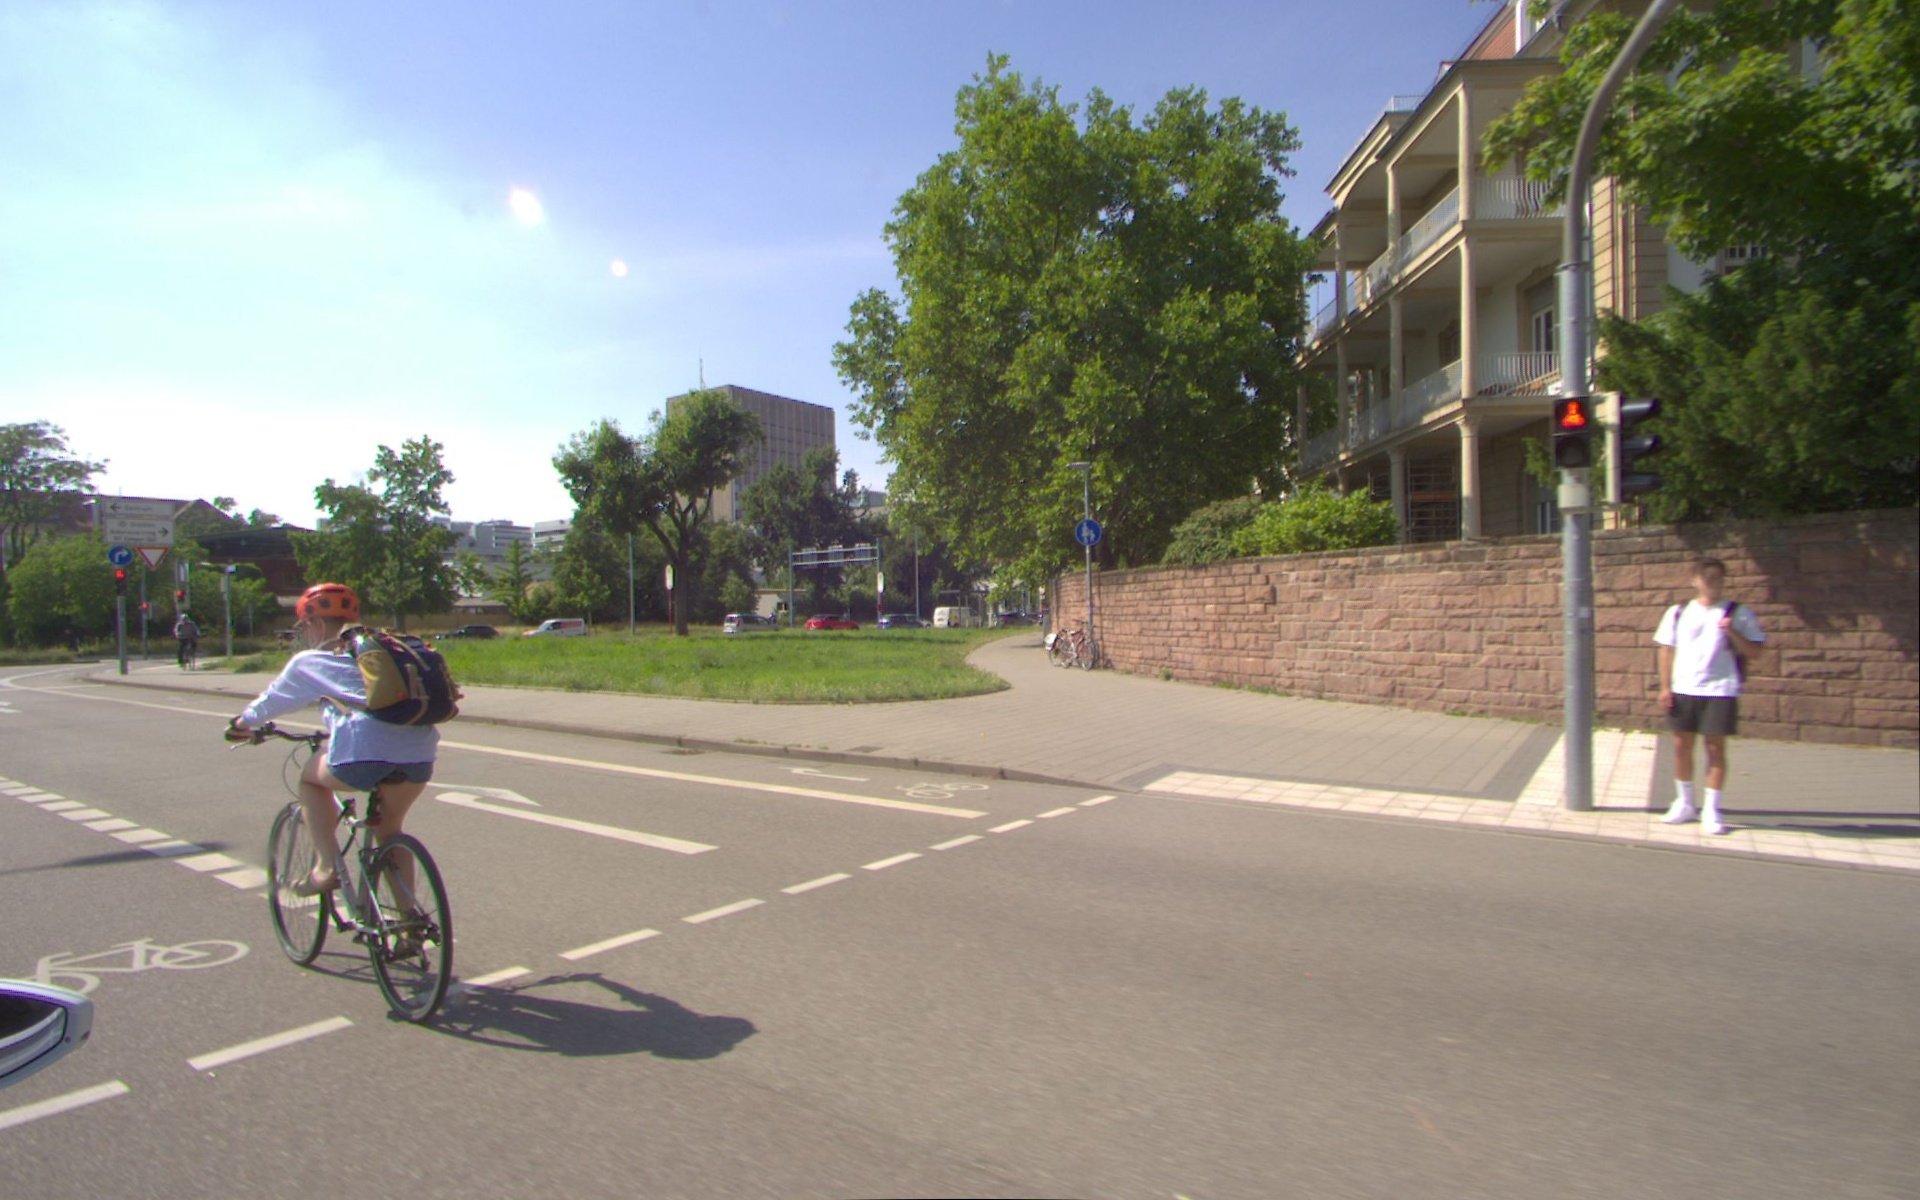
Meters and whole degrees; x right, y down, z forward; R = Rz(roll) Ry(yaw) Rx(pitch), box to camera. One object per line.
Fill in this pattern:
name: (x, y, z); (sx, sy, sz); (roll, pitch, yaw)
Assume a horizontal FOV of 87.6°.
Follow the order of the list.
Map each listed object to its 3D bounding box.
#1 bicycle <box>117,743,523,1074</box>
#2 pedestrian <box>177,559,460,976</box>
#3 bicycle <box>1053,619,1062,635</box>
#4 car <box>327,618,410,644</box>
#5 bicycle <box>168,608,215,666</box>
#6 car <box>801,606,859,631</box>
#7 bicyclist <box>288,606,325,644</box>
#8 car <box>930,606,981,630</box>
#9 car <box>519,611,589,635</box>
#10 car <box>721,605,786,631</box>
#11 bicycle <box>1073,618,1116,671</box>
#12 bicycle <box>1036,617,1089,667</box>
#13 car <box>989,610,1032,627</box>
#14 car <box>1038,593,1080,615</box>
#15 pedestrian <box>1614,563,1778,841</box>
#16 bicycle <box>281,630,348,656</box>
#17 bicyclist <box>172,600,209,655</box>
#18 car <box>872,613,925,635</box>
bicycle: (-2.696, 1.145, 4.133); (1.999, 0.943, 0.595); (-1, -1, 31)
pedestrian: (-2.614, 0.614, 4.079); (0.998, 1.485, 0.582); (-1, -1, 30)
bicycle: (4.859, 1.337, 49.968); (0.334, 0.738, 1.364); (-1, 0, 9)
car: (-36.776, 1.929, 62.310); (1.974, 1.483, 3.974); (-2, -1, 36)
bicycle: (-24.204, 1.156, 31.518); (1.787, 1.789, 0.675); (-1, 1, 37)
car: (-9.037, 1.308, 70.026); (1.730, 1.526, 3.977); (-1, -4, 36)
bicyclist: (-25.924, 0.997, 39.721); (1.121, 1.489, 0.496); (0, -2, -6)
car: (-0.351, 1.420, 80.965); (1.732, 1.781, 4.397); (-1, 0, 40)
car: (-29.063, 1.629, 71.838); (1.885, 1.590, 4.295); (-1, 0, 36)
car: (-13.362, 1.145, 64.923); (1.730, 1.528, 3.973); (-1, 0, 36)
bicycle: (3.031, 0.993, 22.673); (0.343, 1.137, 1.432); (-1, 0, -19)
bicycle: (2.457, 0.993, 24.063); (0.345, 1.137, 1.423); (-2, 1, -39)
car: (4.380, 1.585, 86.462); (1.732, 1.357, 3.968); (-1, 0, 40)
car: (9.349, 0.352, 94.001); (1.977, 2.040, 3.966); (-1, 0, 41)
pedestrian: (5.287, 0.696, 7.243); (0.782, 1.900, 0.652); (-1, 2, 18)
bicycle: (-25.630, 1.700, 39.794); (2.127, 0.928, 0.674); (-1, 1, -6)
bicyclist: (-24.221, 0.854, 31.530); (0.907, 1.677, 0.676); (-1, 1, 36)
car: (-4.650, 1.803, 75.708); (1.732, 1.493, 3.968); (-1, 0, 40)
